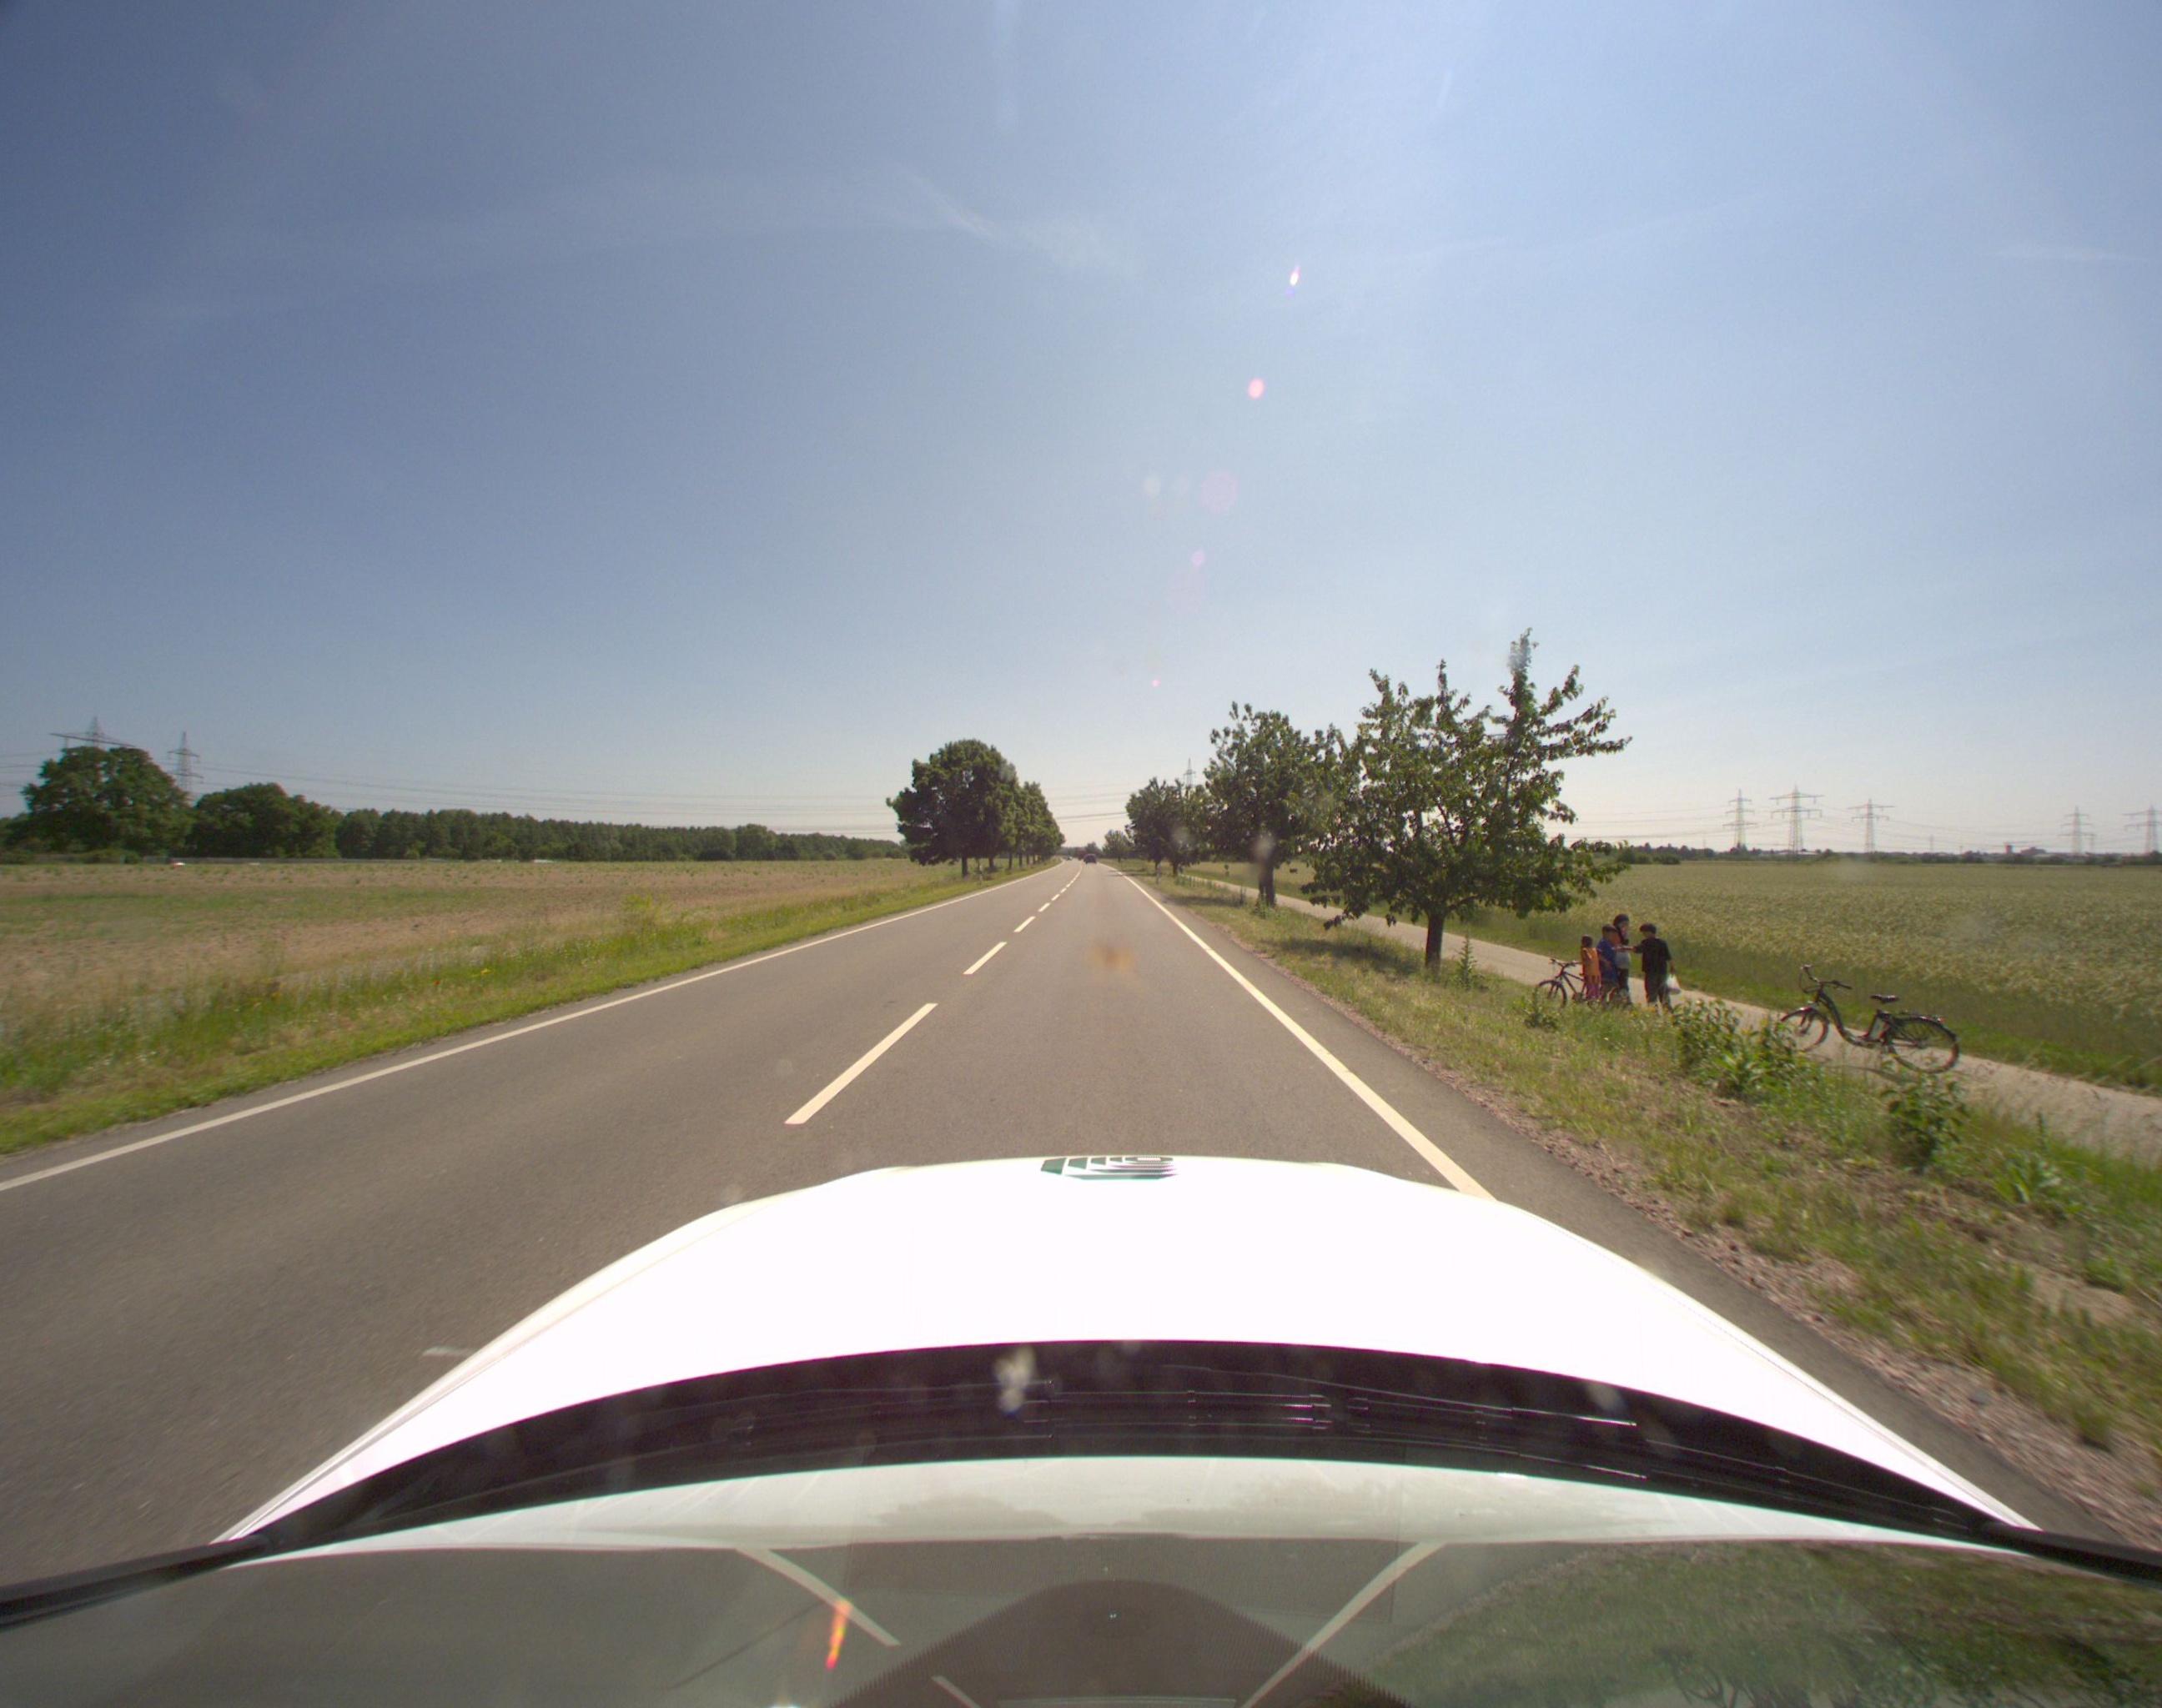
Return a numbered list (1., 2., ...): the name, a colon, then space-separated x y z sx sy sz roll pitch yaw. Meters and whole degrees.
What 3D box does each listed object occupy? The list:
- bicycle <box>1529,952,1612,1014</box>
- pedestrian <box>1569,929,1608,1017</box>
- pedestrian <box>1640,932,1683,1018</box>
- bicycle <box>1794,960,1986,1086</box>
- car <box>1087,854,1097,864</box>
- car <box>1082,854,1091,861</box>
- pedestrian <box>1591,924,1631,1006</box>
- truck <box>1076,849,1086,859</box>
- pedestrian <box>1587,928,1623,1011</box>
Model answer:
1. bicycle: 8.006 2.095 13.327 1.105 0.860 0.445 0 0 38
2. pedestrian: 8.052 1.872 12.919 0.481 1.295 0.445 -1 0 38
3. pedestrian: 9.373 1.937 13.148 0.444 1.295 0.481 0 0 -44
4. bicycle: 9.817 2.000 9.972 0.476 1.165 1.675 0 0 -13
5. car: 1.930 0.858 144.704 1.709 1.694 3.988 -1 -1 1
6. car: 1.219 0.819 184.338 1.847 1.523 3.995 -1 -1 -4
7. pedestrian: 9.110 1.893 13.999 0.481 1.314 0.445 -1 0 44
8. truck: 0.110 0.034 246.567 2.366 3.140 8.733 0 0 -4
9. pedestrian: 8.740 1.905 13.579 0.481 1.295 0.445 -1 0 34
